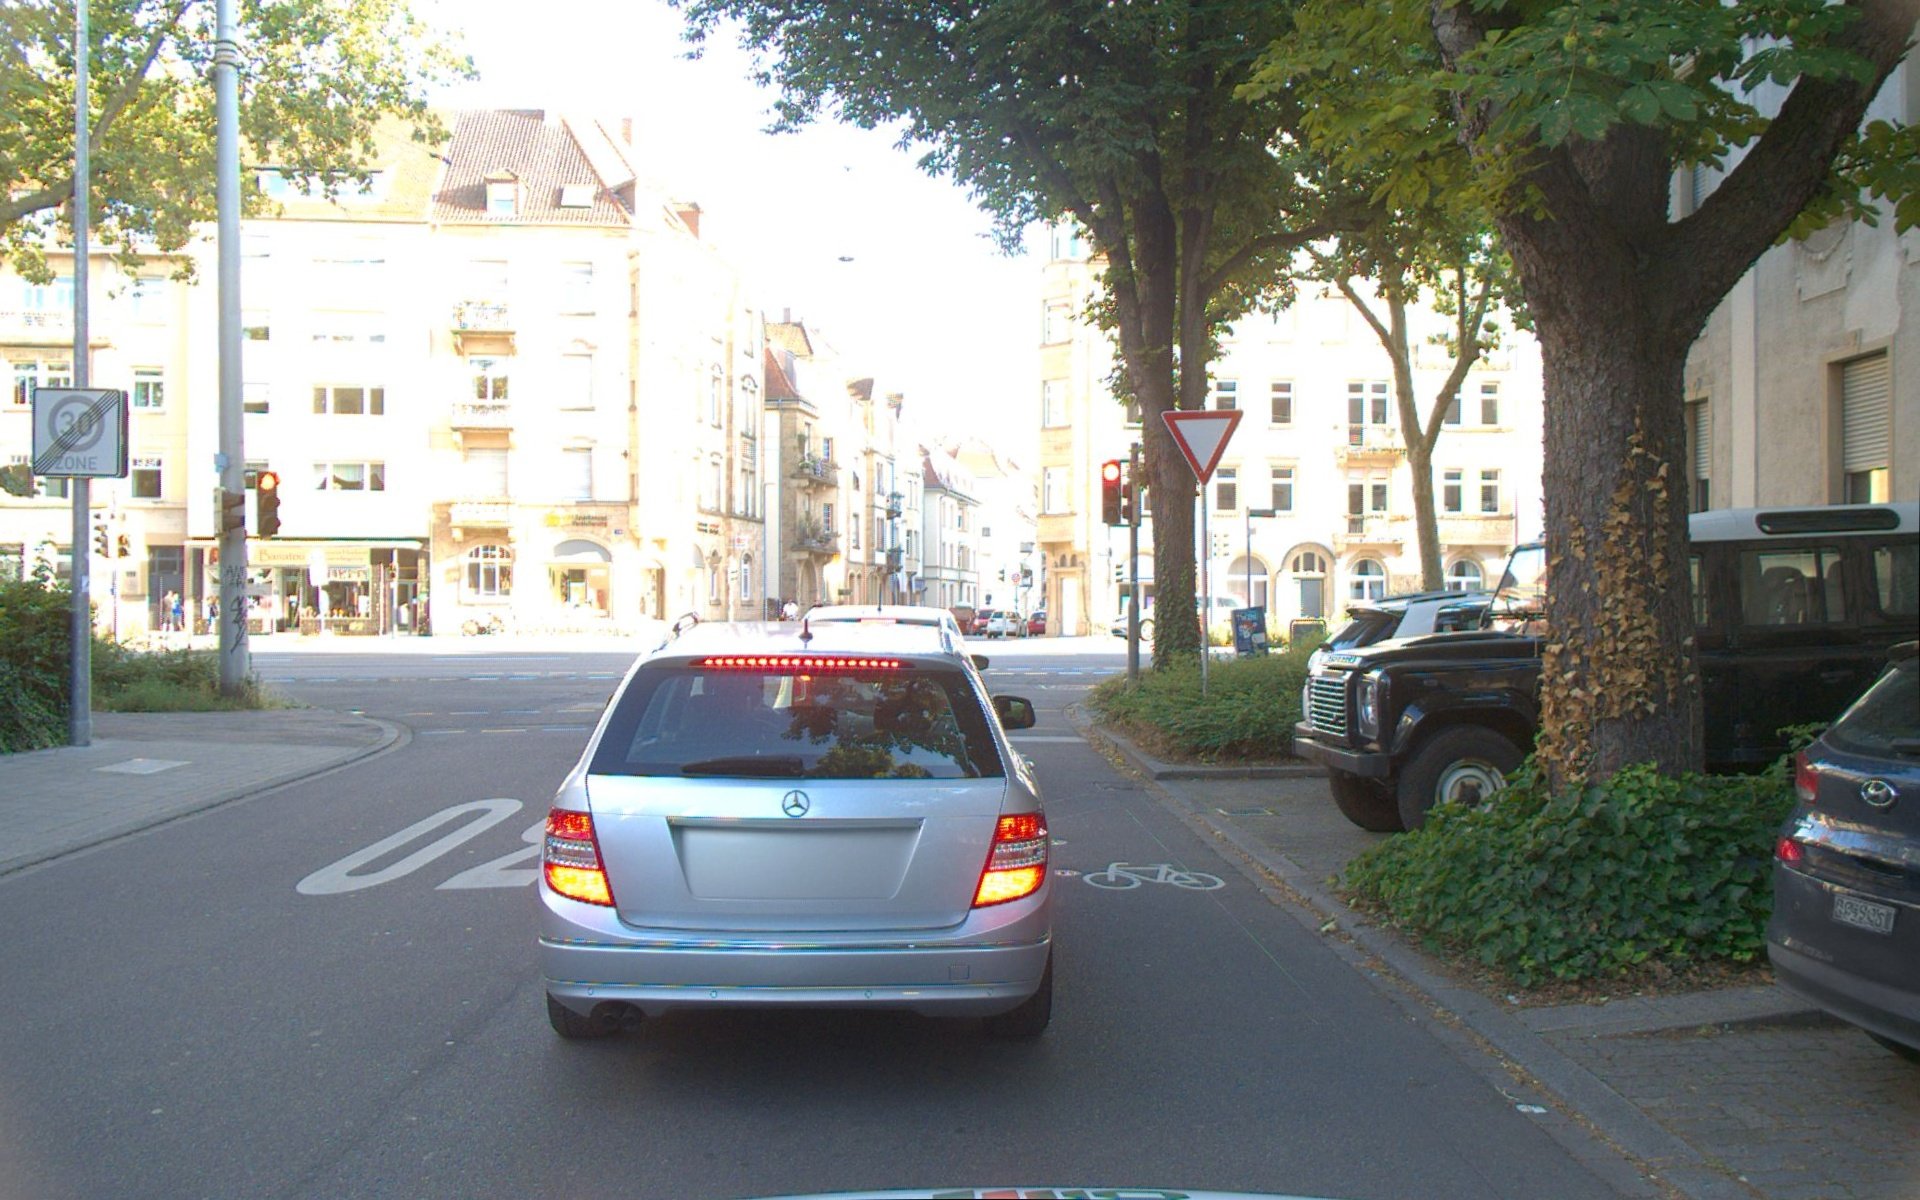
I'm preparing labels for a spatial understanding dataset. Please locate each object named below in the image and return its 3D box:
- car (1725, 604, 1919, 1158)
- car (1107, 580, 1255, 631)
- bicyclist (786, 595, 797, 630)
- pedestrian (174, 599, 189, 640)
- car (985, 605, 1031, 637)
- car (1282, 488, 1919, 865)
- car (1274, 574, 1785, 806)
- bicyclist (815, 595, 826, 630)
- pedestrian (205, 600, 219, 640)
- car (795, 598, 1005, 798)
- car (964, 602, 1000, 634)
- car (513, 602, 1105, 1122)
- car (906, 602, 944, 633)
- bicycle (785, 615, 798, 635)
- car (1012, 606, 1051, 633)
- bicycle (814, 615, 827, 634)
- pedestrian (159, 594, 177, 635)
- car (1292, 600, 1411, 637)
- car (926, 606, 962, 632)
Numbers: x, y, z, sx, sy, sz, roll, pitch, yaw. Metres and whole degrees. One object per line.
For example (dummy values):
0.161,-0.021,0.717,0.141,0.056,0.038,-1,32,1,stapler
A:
4.331,0.684,4.561,3.675,1.446,1.627,-2,-1,-4,car
6.845,0.151,51.277,4.214,1.487,1.780,0,1,-15,car
-7.458,0.548,73.227,0.457,1.541,0.655,0,0,-4,bicyclist
-29.993,0.749,63.683,0.502,1.537,0.532,0,0,-28,pedestrian
2.501,1.056,85.909,1.684,1.504,4.004,-2,0,11,car
4.417,0.397,10.231,4.402,1.990,1.791,-2,0,-4,car
4.416,0.653,13.114,3.415,1.614,1.708,-1,0,-7,car
-6.202,0.552,73.417,0.457,1.547,0.693,0,0,-4,bicyclist
-28.658,0.761,63.388,0.466,1.537,0.428,0,0,-21,pedestrian
-0.504,0.704,13.709,1.502,1.415,3.597,0,0,-2,car
1.455,1.152,107.605,1.896,1.993,4.153,0,0,7,car
-0.521,0.755,6.461,1.657,1.454,3.490,1,0,-3,car
-2.130,1.098,102.371,1.615,1.814,3.866,0,-1,10,car
-7.466,1.094,73.283,0.557,0.849,1.564,0,0,-4,bicycle
4.447,1.187,102.129,1.684,1.503,4.004,-4,0,11,car
-6.195,1.084,73.353,0.557,0.849,1.564,0,0,-4,bicycle
-29.890,0.530,62.433,0.557,1.537,0.499,0,0,-20,pedestrian
11.852,0.553,50.181,3.296,1.087,1.380,0,0,-2,car
-1.034,1.244,108.678,1.615,1.632,3.866,0,-1,10,car
